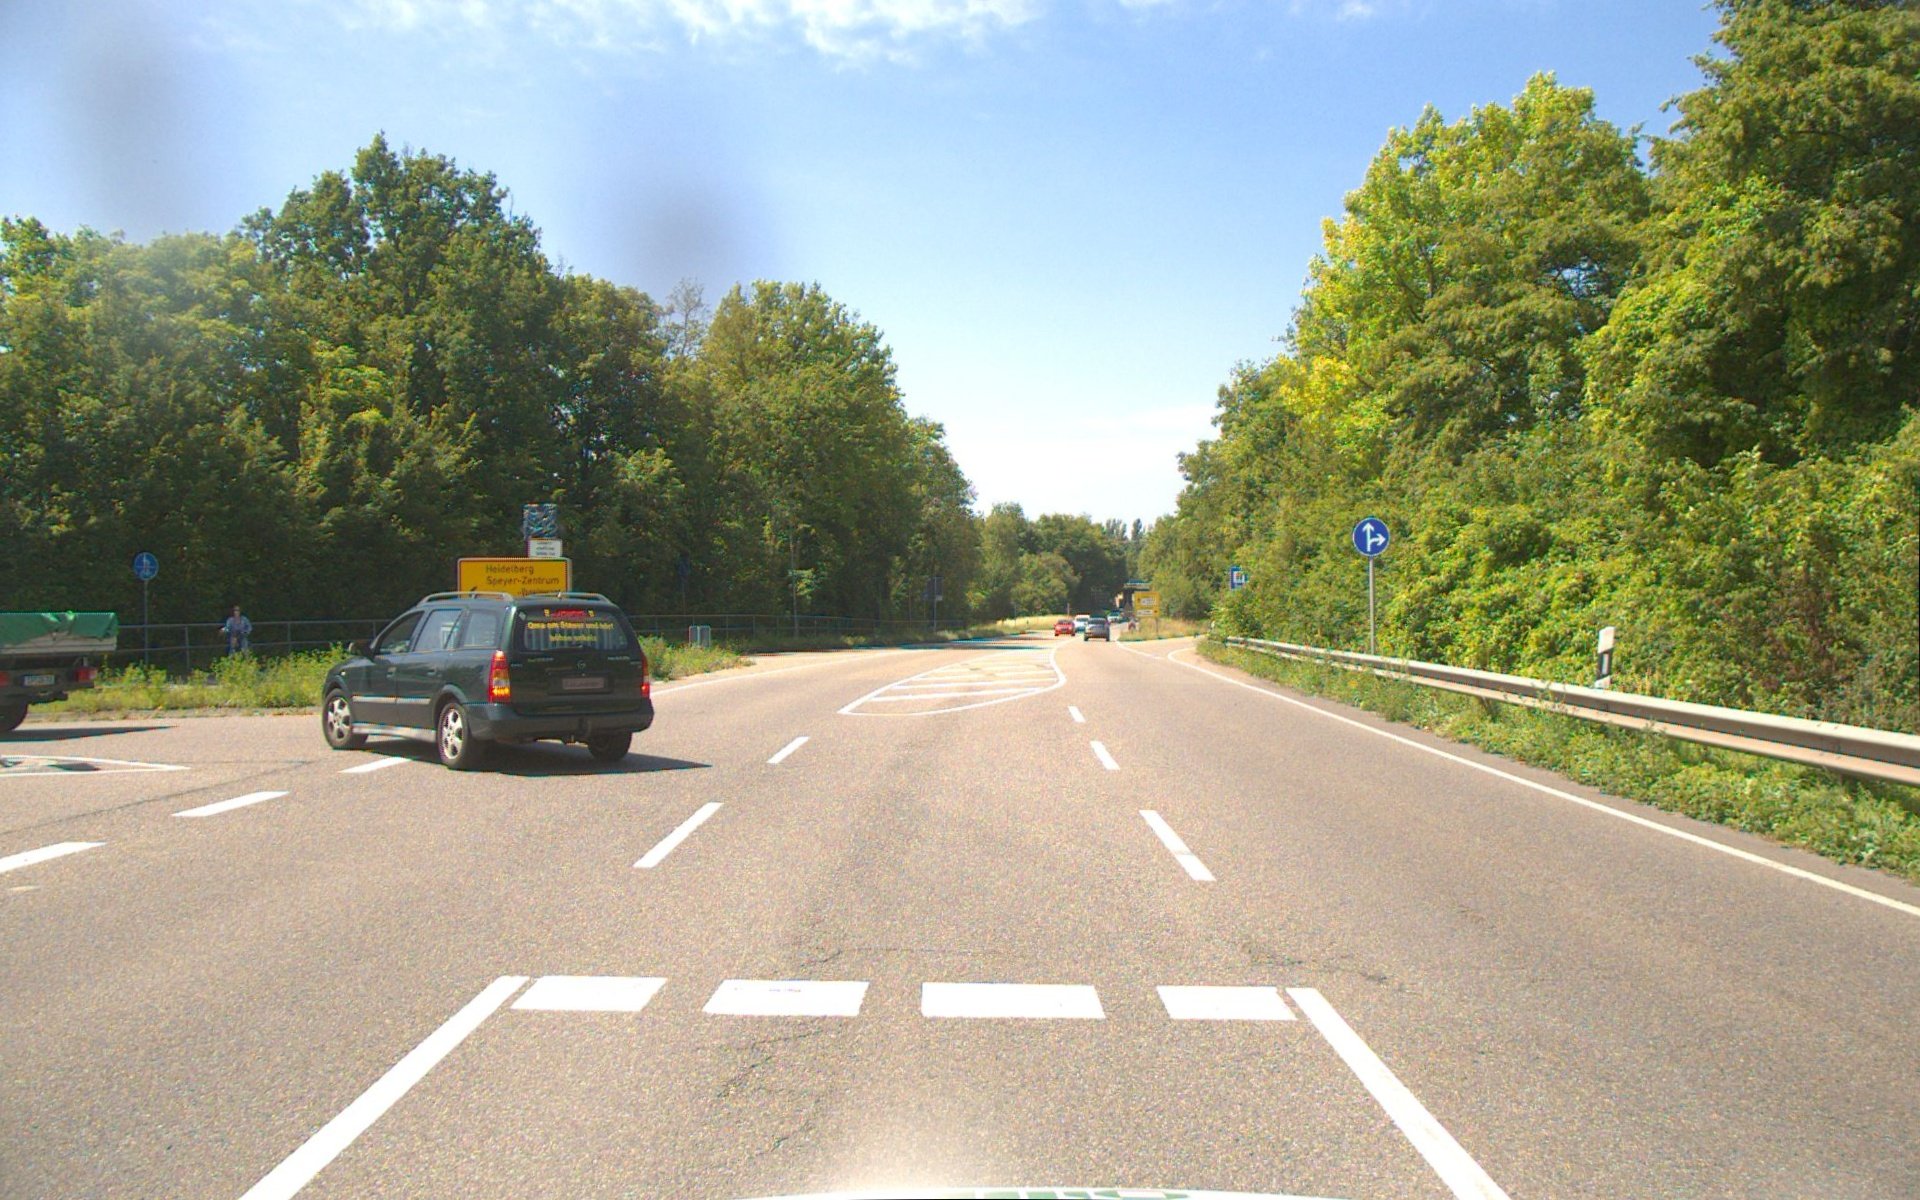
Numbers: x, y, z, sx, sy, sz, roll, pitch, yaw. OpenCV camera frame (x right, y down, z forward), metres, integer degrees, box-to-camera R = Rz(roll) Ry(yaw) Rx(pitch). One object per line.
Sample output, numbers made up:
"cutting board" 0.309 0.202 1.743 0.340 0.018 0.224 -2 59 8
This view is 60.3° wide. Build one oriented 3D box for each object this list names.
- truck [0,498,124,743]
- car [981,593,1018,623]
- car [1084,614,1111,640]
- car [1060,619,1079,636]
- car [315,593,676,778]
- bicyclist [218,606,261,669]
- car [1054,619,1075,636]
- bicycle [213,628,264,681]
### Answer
"truck" -13.294 0.353 18.963 6.476 2.610 2.147 -2 -1 8
"car" 4.299 0.878 180.800 1.971 3.282 4.764 0 0 -28
"car" 9.501 1.841 114.399 1.804 1.714 4.002 0 0 4
"car" 11.501 2.858 173.558 1.952 1.760 4.276 0 0 4
"car" -4.374 0.691 15.281 1.712 1.482 3.737 0 0 -43
"bicyclist" -16.152 0.835 37.096 0.673 1.387 0.609 0 0 1
"car" 9.231 2.397 145.389 1.772 1.483 3.760 0 0 5
"bicycle" -16.165 1.201 37.078 0.426 1.133 1.482 -1 0 3
